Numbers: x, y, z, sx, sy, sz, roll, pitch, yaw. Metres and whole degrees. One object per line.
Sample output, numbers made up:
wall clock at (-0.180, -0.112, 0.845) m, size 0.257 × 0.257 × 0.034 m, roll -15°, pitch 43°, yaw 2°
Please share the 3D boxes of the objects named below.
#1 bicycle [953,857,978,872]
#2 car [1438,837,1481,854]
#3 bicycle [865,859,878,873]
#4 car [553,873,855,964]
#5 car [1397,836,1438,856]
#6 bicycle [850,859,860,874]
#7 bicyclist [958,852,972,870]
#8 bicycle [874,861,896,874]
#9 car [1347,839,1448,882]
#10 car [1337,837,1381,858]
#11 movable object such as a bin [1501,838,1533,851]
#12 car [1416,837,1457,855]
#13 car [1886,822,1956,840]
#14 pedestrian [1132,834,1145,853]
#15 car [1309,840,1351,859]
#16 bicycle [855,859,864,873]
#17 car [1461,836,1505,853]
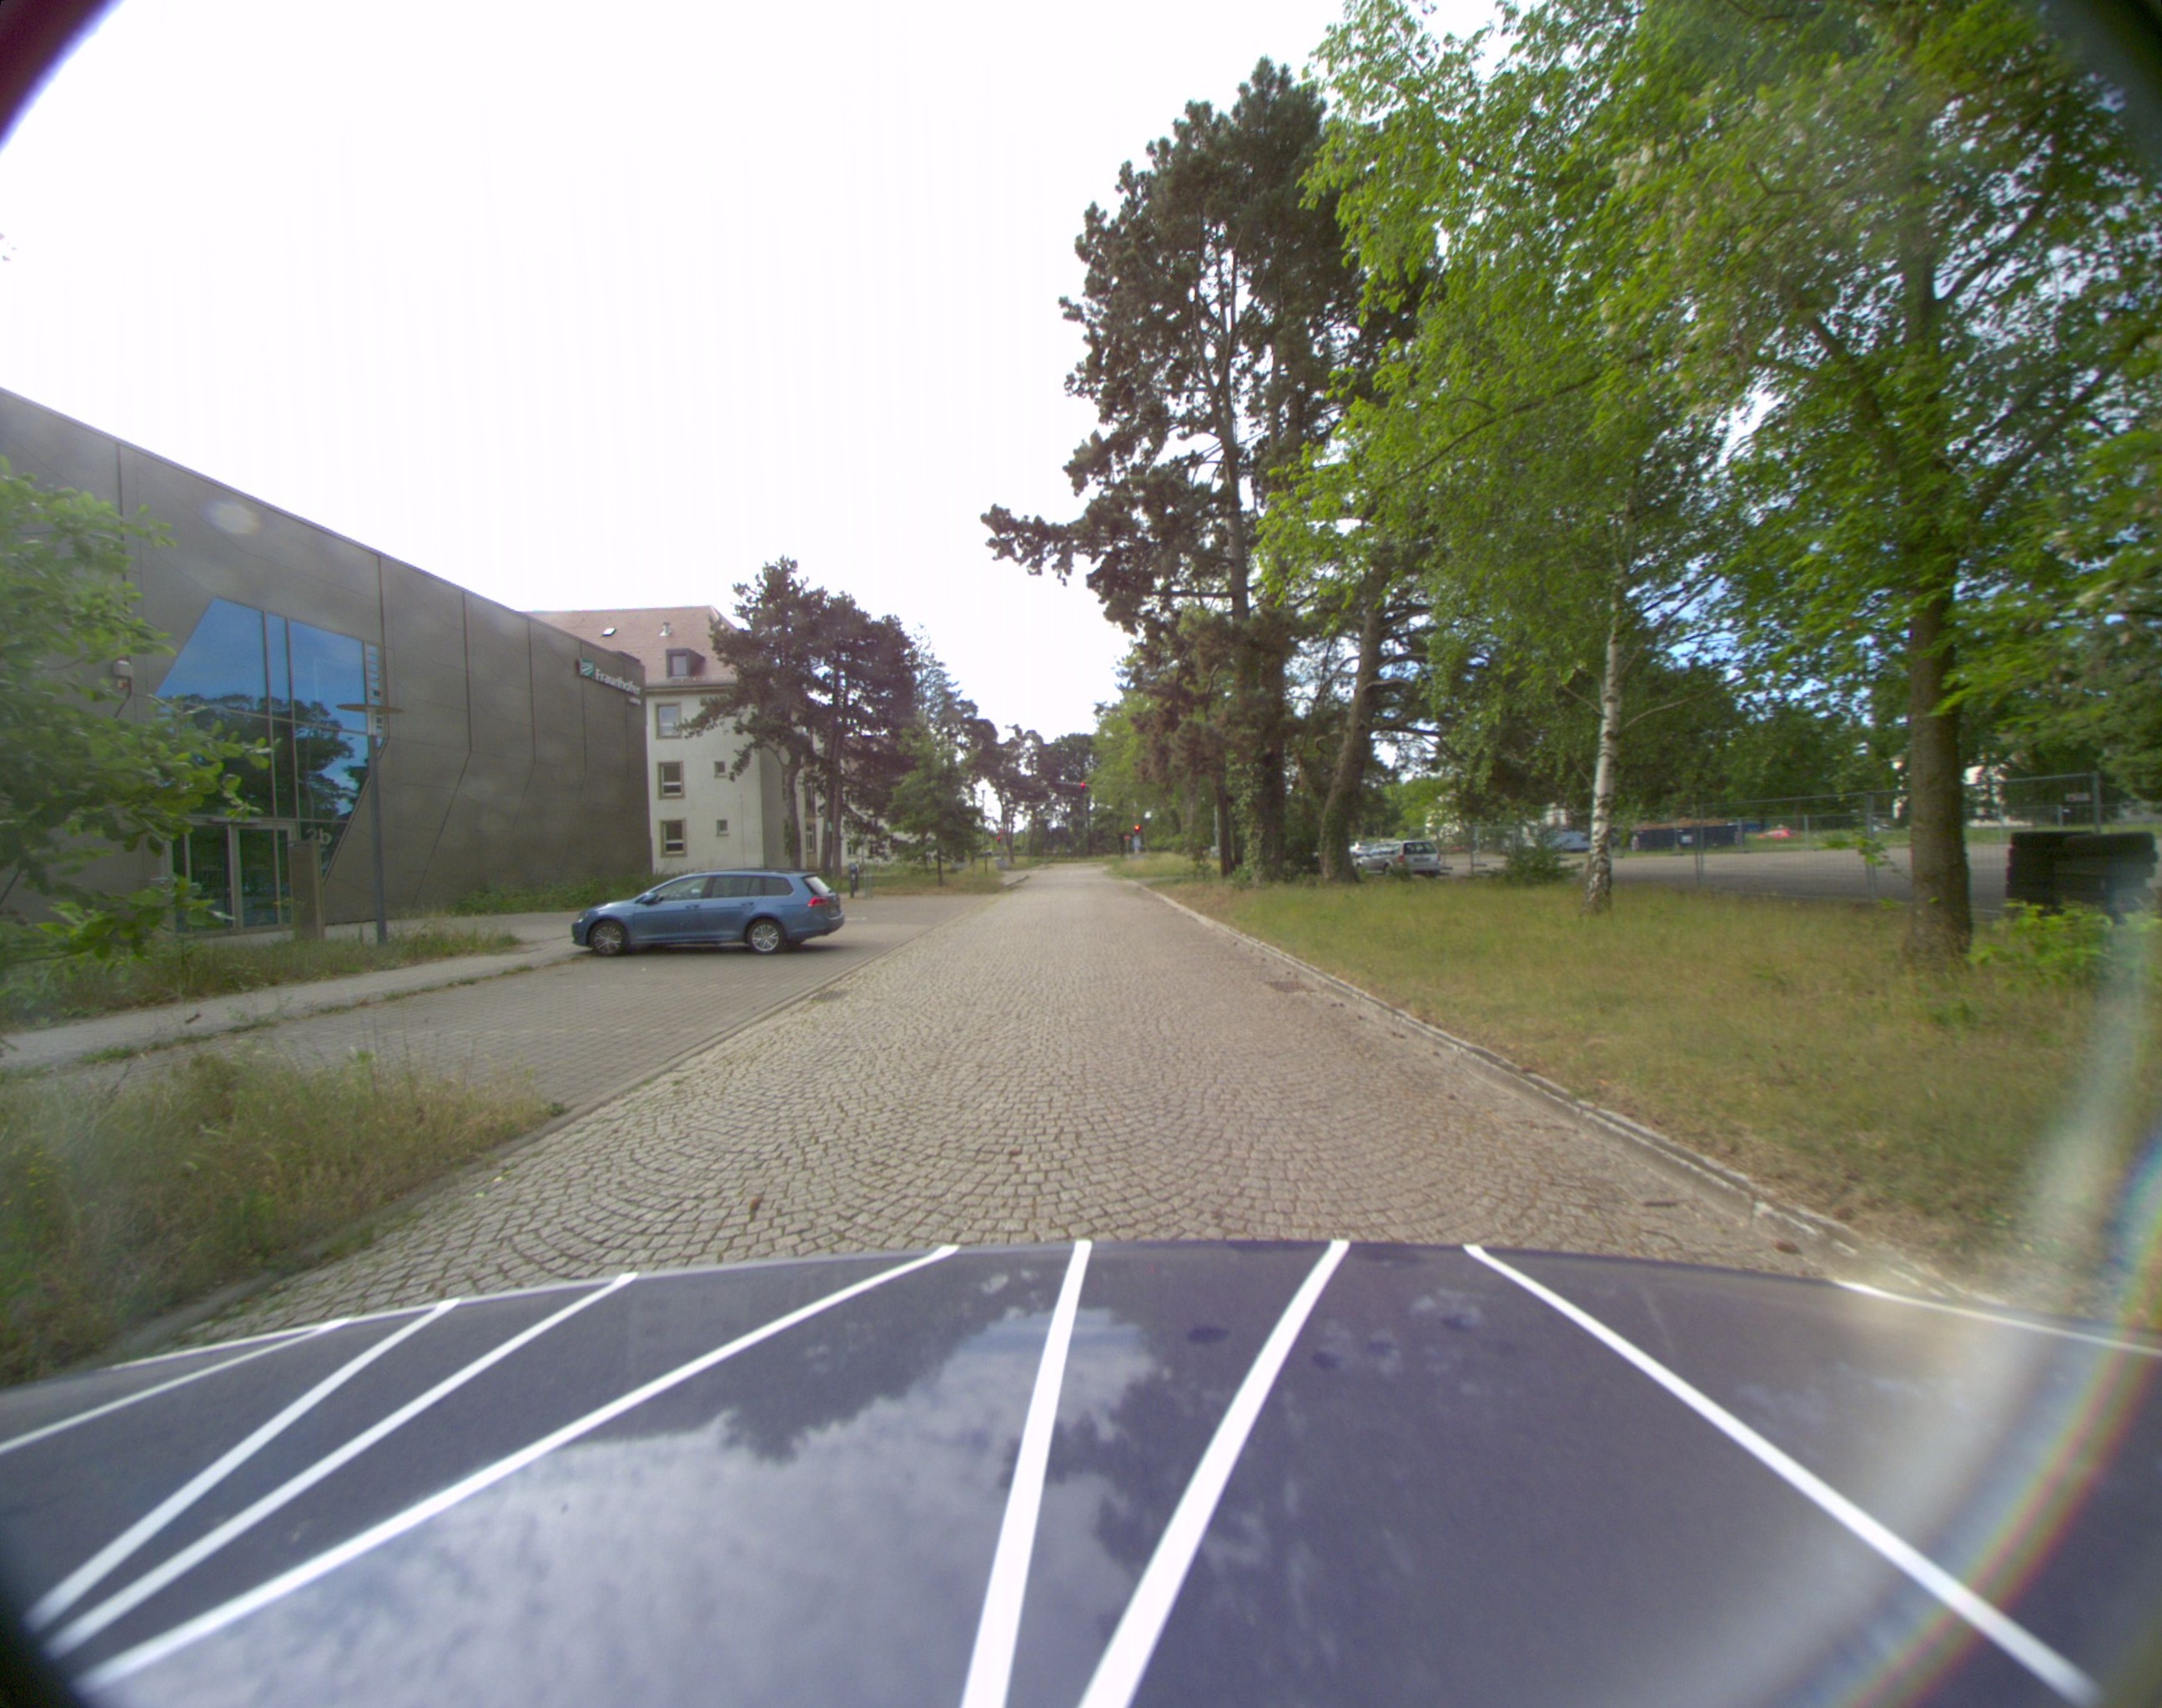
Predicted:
bicycle at (-11.034, 0.997, 72.472) m, size 2.166 × 1.268 × 0.962 m, roll -2°, pitch 1°, yaw -29°
car at (38.591, -0.802, 77.563) m, size 1.840 × 1.512 × 4.584 m, roll -2°, pitch -1°, yaw -3°
bicycle at (-20.247, 1.130, 73.465) m, size 0.572 × 1.324 × 1.839 m, roll -2°, pitch 1°, yaw 7°
car at (-6.631, 1.114, 13.807) m, size 4.535 × 1.435 × 1.823 m, roll 0°, pitch 0°, yaw -4°
car at (29.617, -0.685, 66.942) m, size 1.737 × 1.512 × 4.114 m, roll -2°, pitch -1°, yaw 0°
bicycle at (-21.801, 1.201, 73.348) m, size 0.572 × 1.324 × 1.837 m, roll -2°, pitch 1°, yaw -6°
bicyclist at (-11.077, 0.683, 72.469) m, size 0.919 × 1.626 × 0.962 m, roll -3°, pitch 1°, yaw -28°
bicycle at (-18.519, 1.263, 71.826) m, size 1.836 × 1.079 × 0.572 m, roll -2°, pitch 3°, yaw 3°
car at (11.749, 0.208, 28.547) m, size 1.720 × 1.430 × 4.465 m, roll -2°, pitch 0°, yaw -3°
car at (24.228, -0.551, 66.377) m, size 1.840 × 1.568 × 4.584 m, roll -2°, pitch -1°, yaw -3°
movable object such as a bin at (30.879, -0.660, 53.858) m, size 1.041 × 0.927 × 1.934 m, roll -1°, pitch 0°, yaw -8°
car at (36.257, -0.781, 77.679) m, size 1.840 × 1.549 × 4.584 m, roll -2°, pitch -1°, yaw -3°
car at (86.125, -2.327, 77.993) m, size 1.840 × 1.512 × 4.584 m, roll -2°, pitch -2°, yaw -3°
pedestrian at (4.687, -0.883, 61.997) m, size 0.883 × 1.509 × 0.822 m, roll -2°, pitch 1°, yaw 14°
car at (21.625, -0.351, 66.154) m, size 1.840 × 1.441 × 4.655 m, roll -2°, pitch -1°, yaw -3°
bicycle at (-21.369, 1.174, 73.343) m, size 0.482 × 1.324 × 1.837 m, roll -2°, pitch 1°, yaw -6°
car at (41.205, -0.959, 77.915) m, size 1.840 × 1.512 × 4.584 m, roll -2°, pitch -1°, yaw -3°
